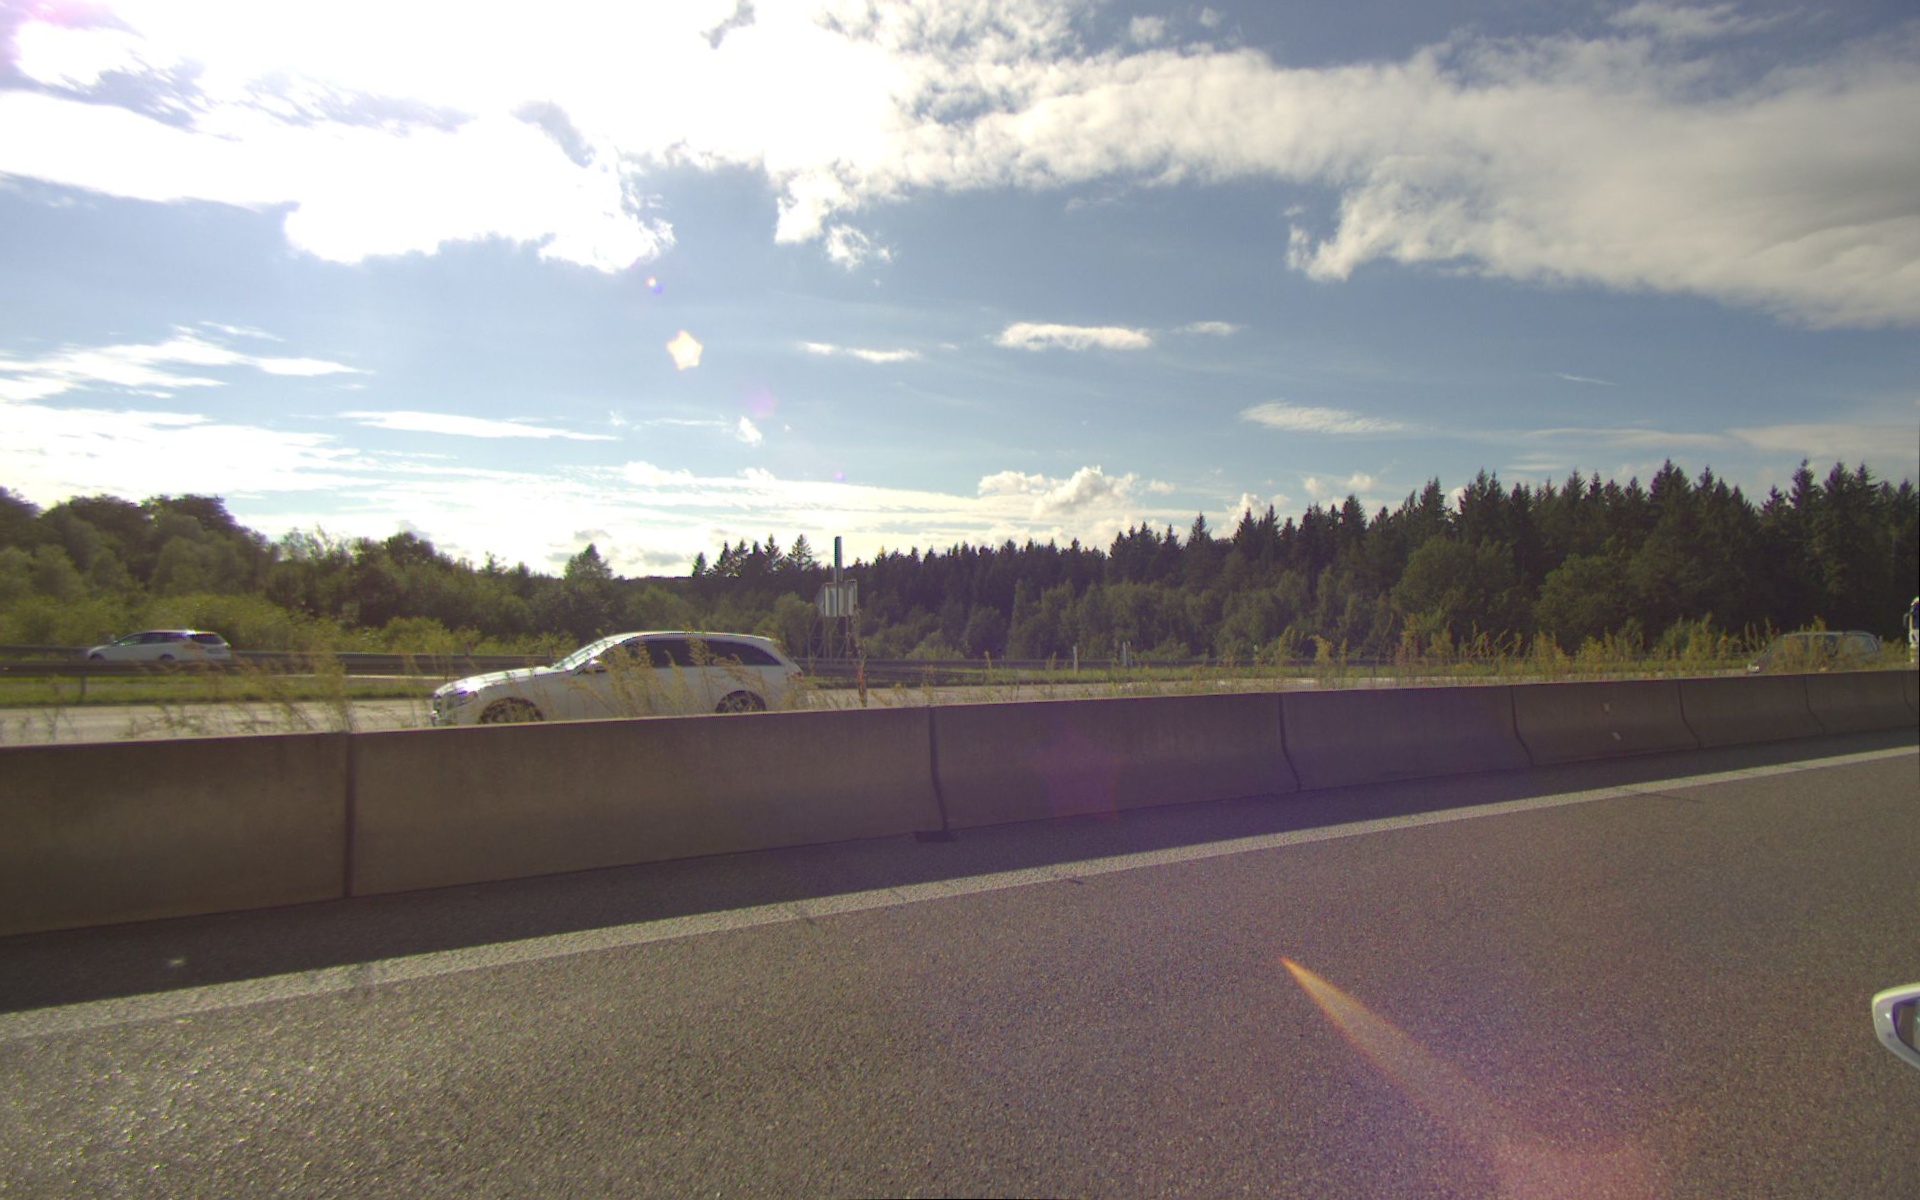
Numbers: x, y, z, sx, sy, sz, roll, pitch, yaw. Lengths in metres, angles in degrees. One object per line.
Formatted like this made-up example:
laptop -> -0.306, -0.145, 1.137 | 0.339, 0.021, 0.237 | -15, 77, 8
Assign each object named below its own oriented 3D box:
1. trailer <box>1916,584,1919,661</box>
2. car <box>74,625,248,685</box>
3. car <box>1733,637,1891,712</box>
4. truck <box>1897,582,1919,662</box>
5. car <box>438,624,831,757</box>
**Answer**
trailer -> 56.652, 1.312, 54.945 | 13.391, 4.045, 2.819 | 2, -2, -31
car -> -28.235, 1.918, 35.568 | 4.876, 1.824, 2.001 | 2, 0, 9
car -> 21.978, 1.855, 25.886 | 4.202, 1.716, 1.806 | 1, 0, -31
truck -> 51.174, 1.148, 51.676 | 5.765, 4.028, 2.806 | 1, -2, -31
car -> -4.424, 1.138, 13.902 | 4.877, 1.496, 1.909 | 2, 0, -31
